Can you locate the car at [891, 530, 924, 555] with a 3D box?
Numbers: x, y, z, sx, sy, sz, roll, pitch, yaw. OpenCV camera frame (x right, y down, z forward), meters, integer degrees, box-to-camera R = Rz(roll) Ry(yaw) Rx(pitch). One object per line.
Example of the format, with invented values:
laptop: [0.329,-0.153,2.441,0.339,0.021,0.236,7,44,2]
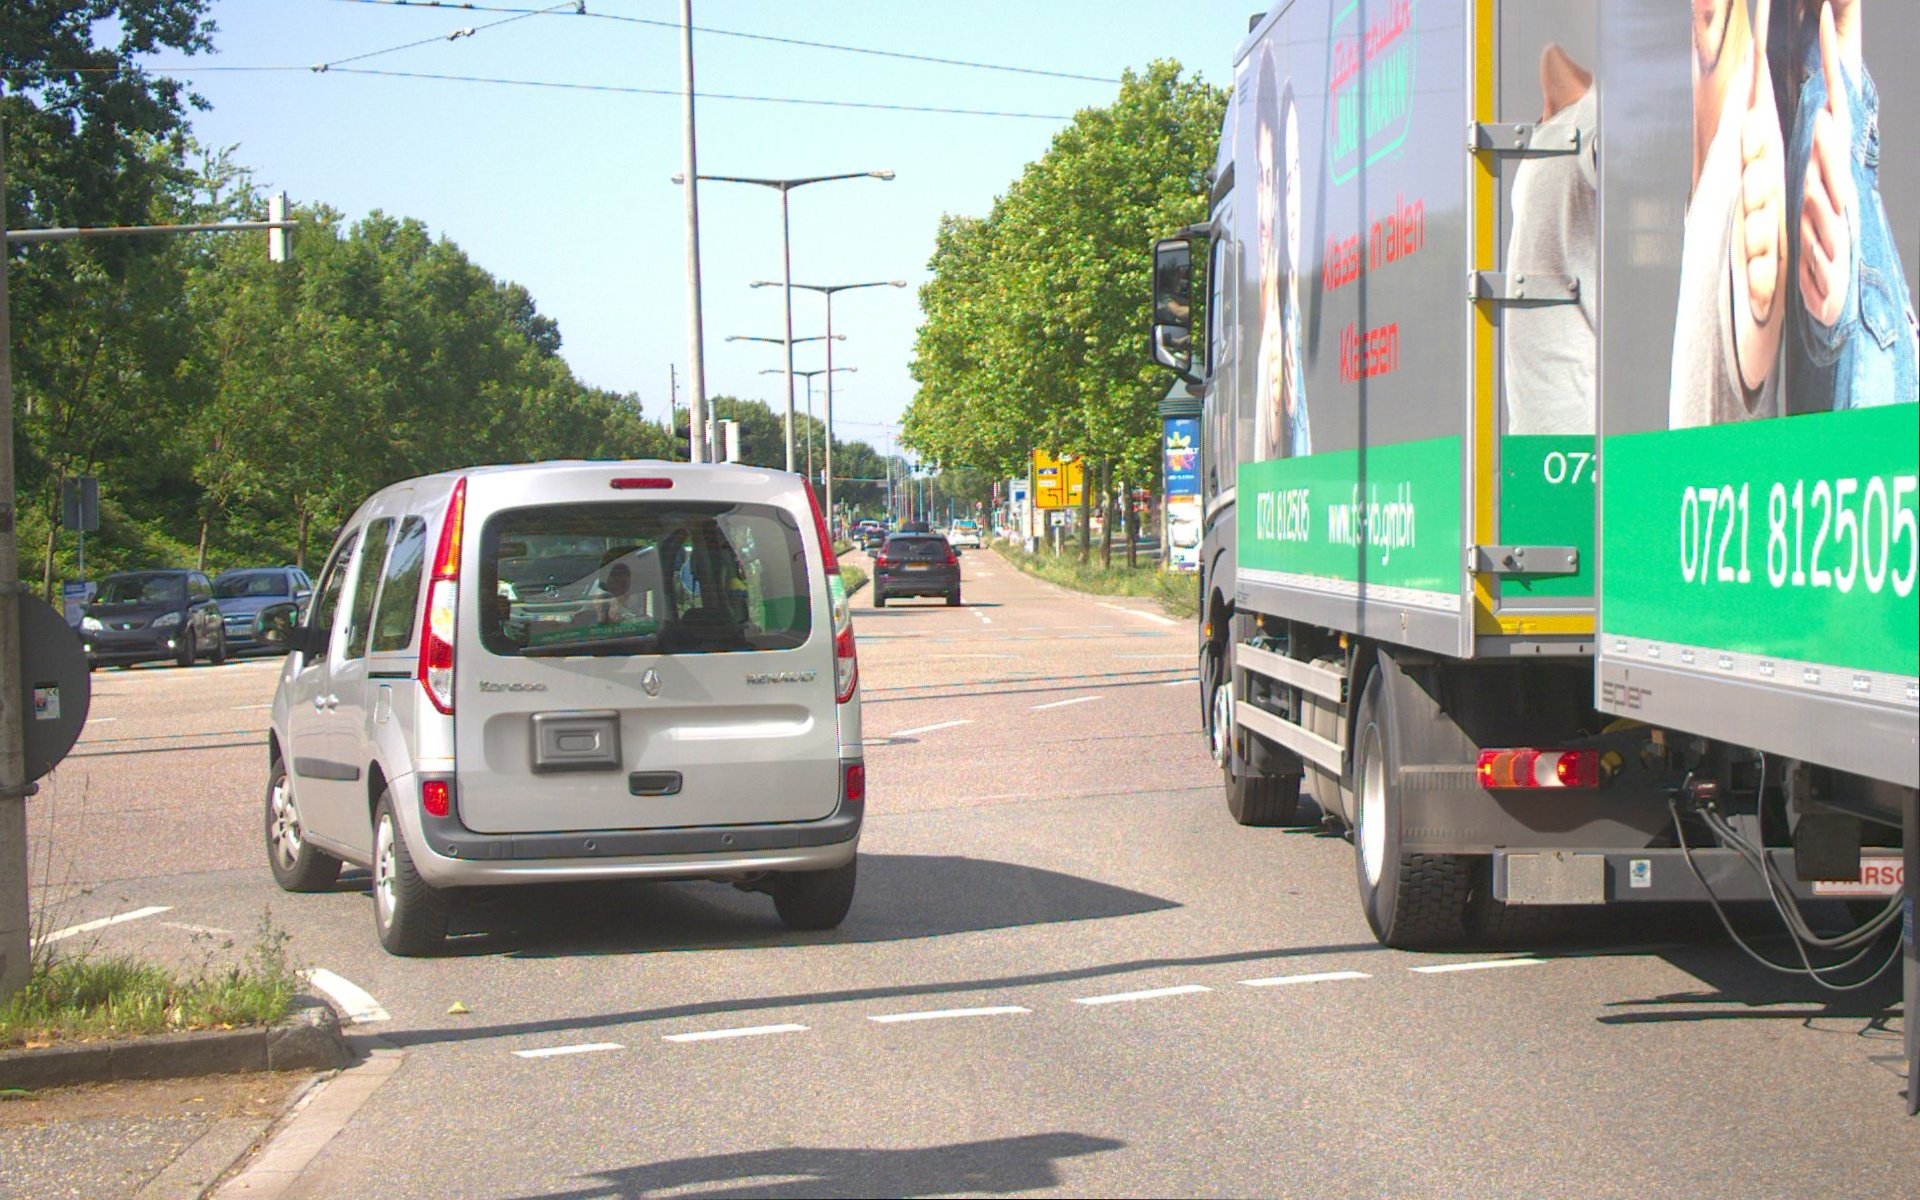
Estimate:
car: [-3.331,-3.658,219.620,1.993,1.579,4.456,1,1,0]

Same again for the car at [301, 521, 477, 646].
car: [-9.149,-0.285,55.429,1.993,1.863,4.774,-2,1,0]

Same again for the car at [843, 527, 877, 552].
car: [-6.369,-3.835,219.379,1.993,1.579,4.456,1,1,0]

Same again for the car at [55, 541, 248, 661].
car: [-11.871,-0.007,50.686,1.911,1.636,3.737,-2,1,0]

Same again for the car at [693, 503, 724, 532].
car: [-17.560,-5.738,239.729,1.888,2.007,4.000,1,1,-1]

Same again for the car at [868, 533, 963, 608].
car: [-0.956,-0.664,76.202,1.993,1.579,4.456,1,1,0]

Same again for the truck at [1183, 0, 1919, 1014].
truck: [2.638,-0.797,14.424,2.729,3.876,8.723,-1,1,0]

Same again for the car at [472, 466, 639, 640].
car: [-6.431,-0.750,55.163,1.993,2.598,5.134,-2,1,0]

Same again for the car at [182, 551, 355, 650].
car: [-11.554,-0.014,57.710,1.993,1.535,4.236,-2,1,0]

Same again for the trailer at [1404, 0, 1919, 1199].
trailer: [2.736,-0.709,6.136,2.736,3.863,7.736,-1,1,-1]

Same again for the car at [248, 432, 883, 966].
car: [-1.754,0.316,13.969,1.786,1.831,4.001,0,1,-18]

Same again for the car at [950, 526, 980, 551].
car: [0.348,-4.048,227.632,1.993,1.579,4.456,1,1,0]
